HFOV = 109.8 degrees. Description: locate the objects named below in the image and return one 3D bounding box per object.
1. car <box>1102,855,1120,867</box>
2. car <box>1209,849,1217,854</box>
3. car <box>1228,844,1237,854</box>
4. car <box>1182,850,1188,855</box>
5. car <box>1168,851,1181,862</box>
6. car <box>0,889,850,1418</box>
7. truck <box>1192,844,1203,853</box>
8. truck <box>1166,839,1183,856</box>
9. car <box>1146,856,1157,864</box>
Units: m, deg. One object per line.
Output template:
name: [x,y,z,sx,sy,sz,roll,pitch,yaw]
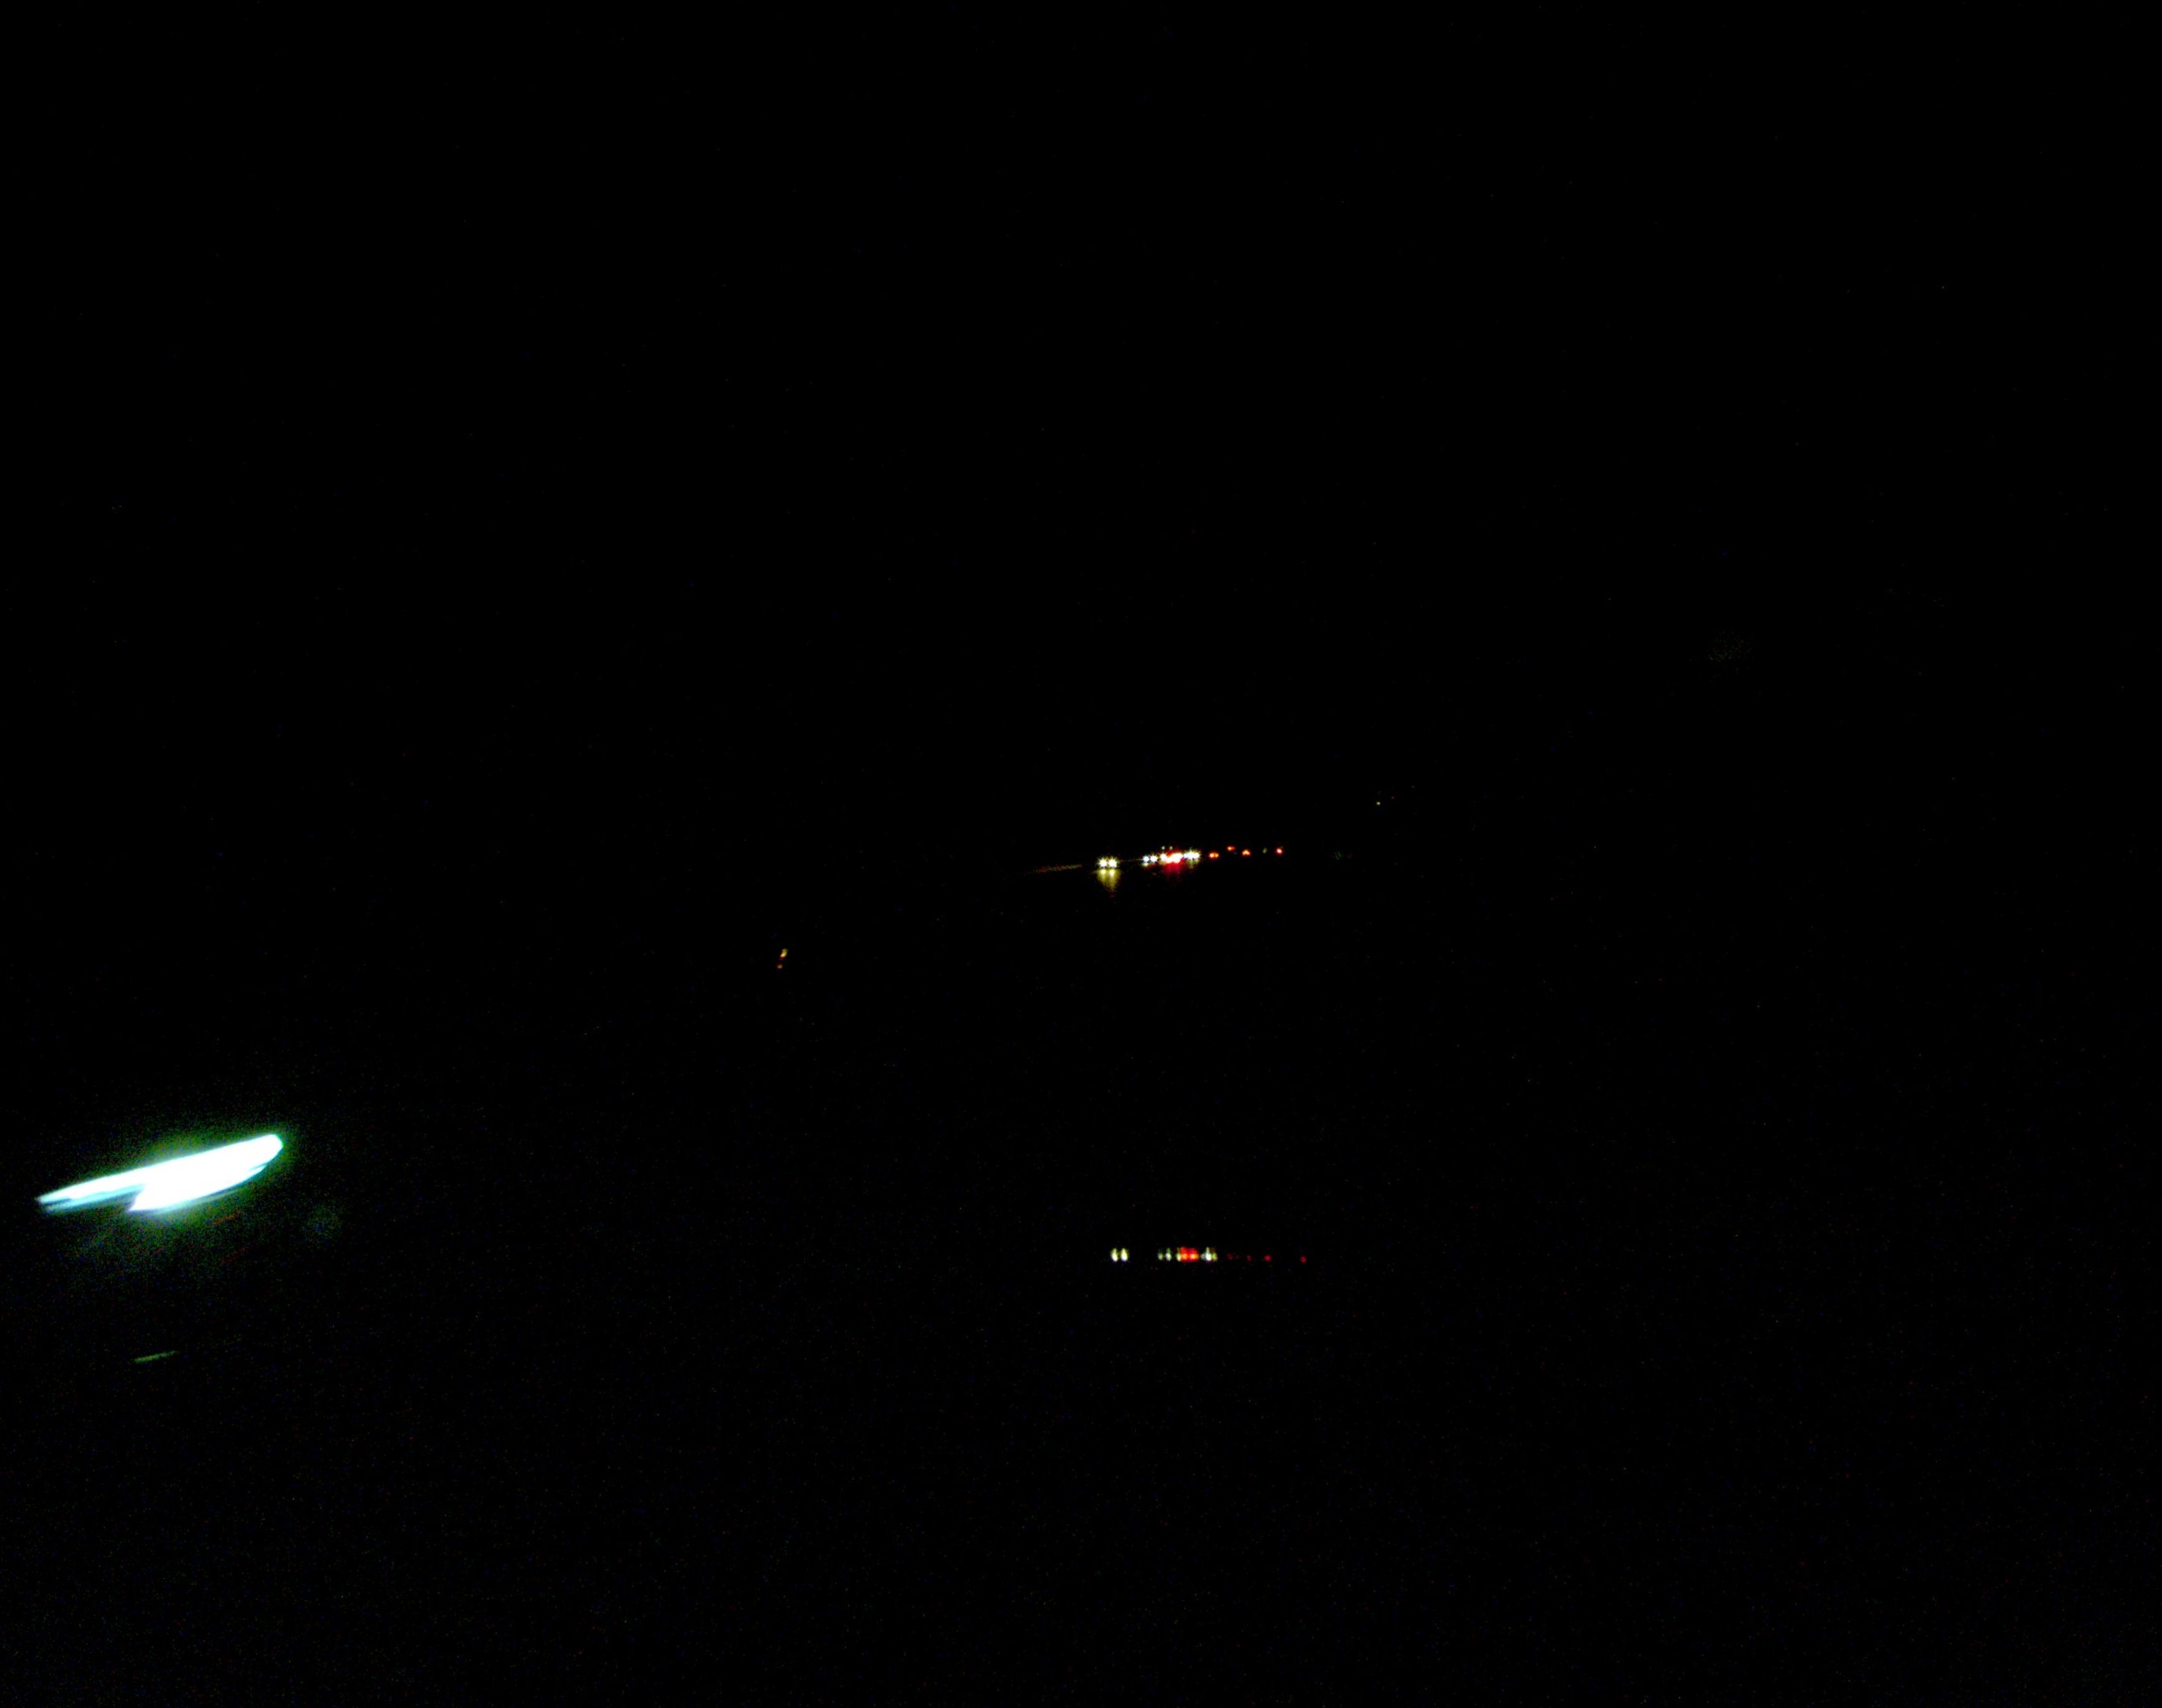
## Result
car: [3.800,0.876,94.677,1.811,1.508,3.938,0,0,8]
car: [36.610,-0.761,210.985,1.915,1.418,4.957,0,0,13]
car: [49.259,-1.552,246.658,2.489,3.088,7.392,0,1,15]
car: [30.298,-0.463,221.063,1.690,1.619,4.726,0,0,10]
car: [13.927,0.401,113.307,1.822,1.507,4.524,0,1,7]
car: [-3.195,1.042,4.810,1.812,1.418,4.875,0,0,2]
truck: [33.445,-1.523,217.943,2.424,2.410,7.098,0,1,13]
truck: [24.538,-1.841,198.594,2.969,4.251,17.157,0,1,12]
car: [13.804,1.093,148.138,1.811,1.508,3.939,0,0,11]
